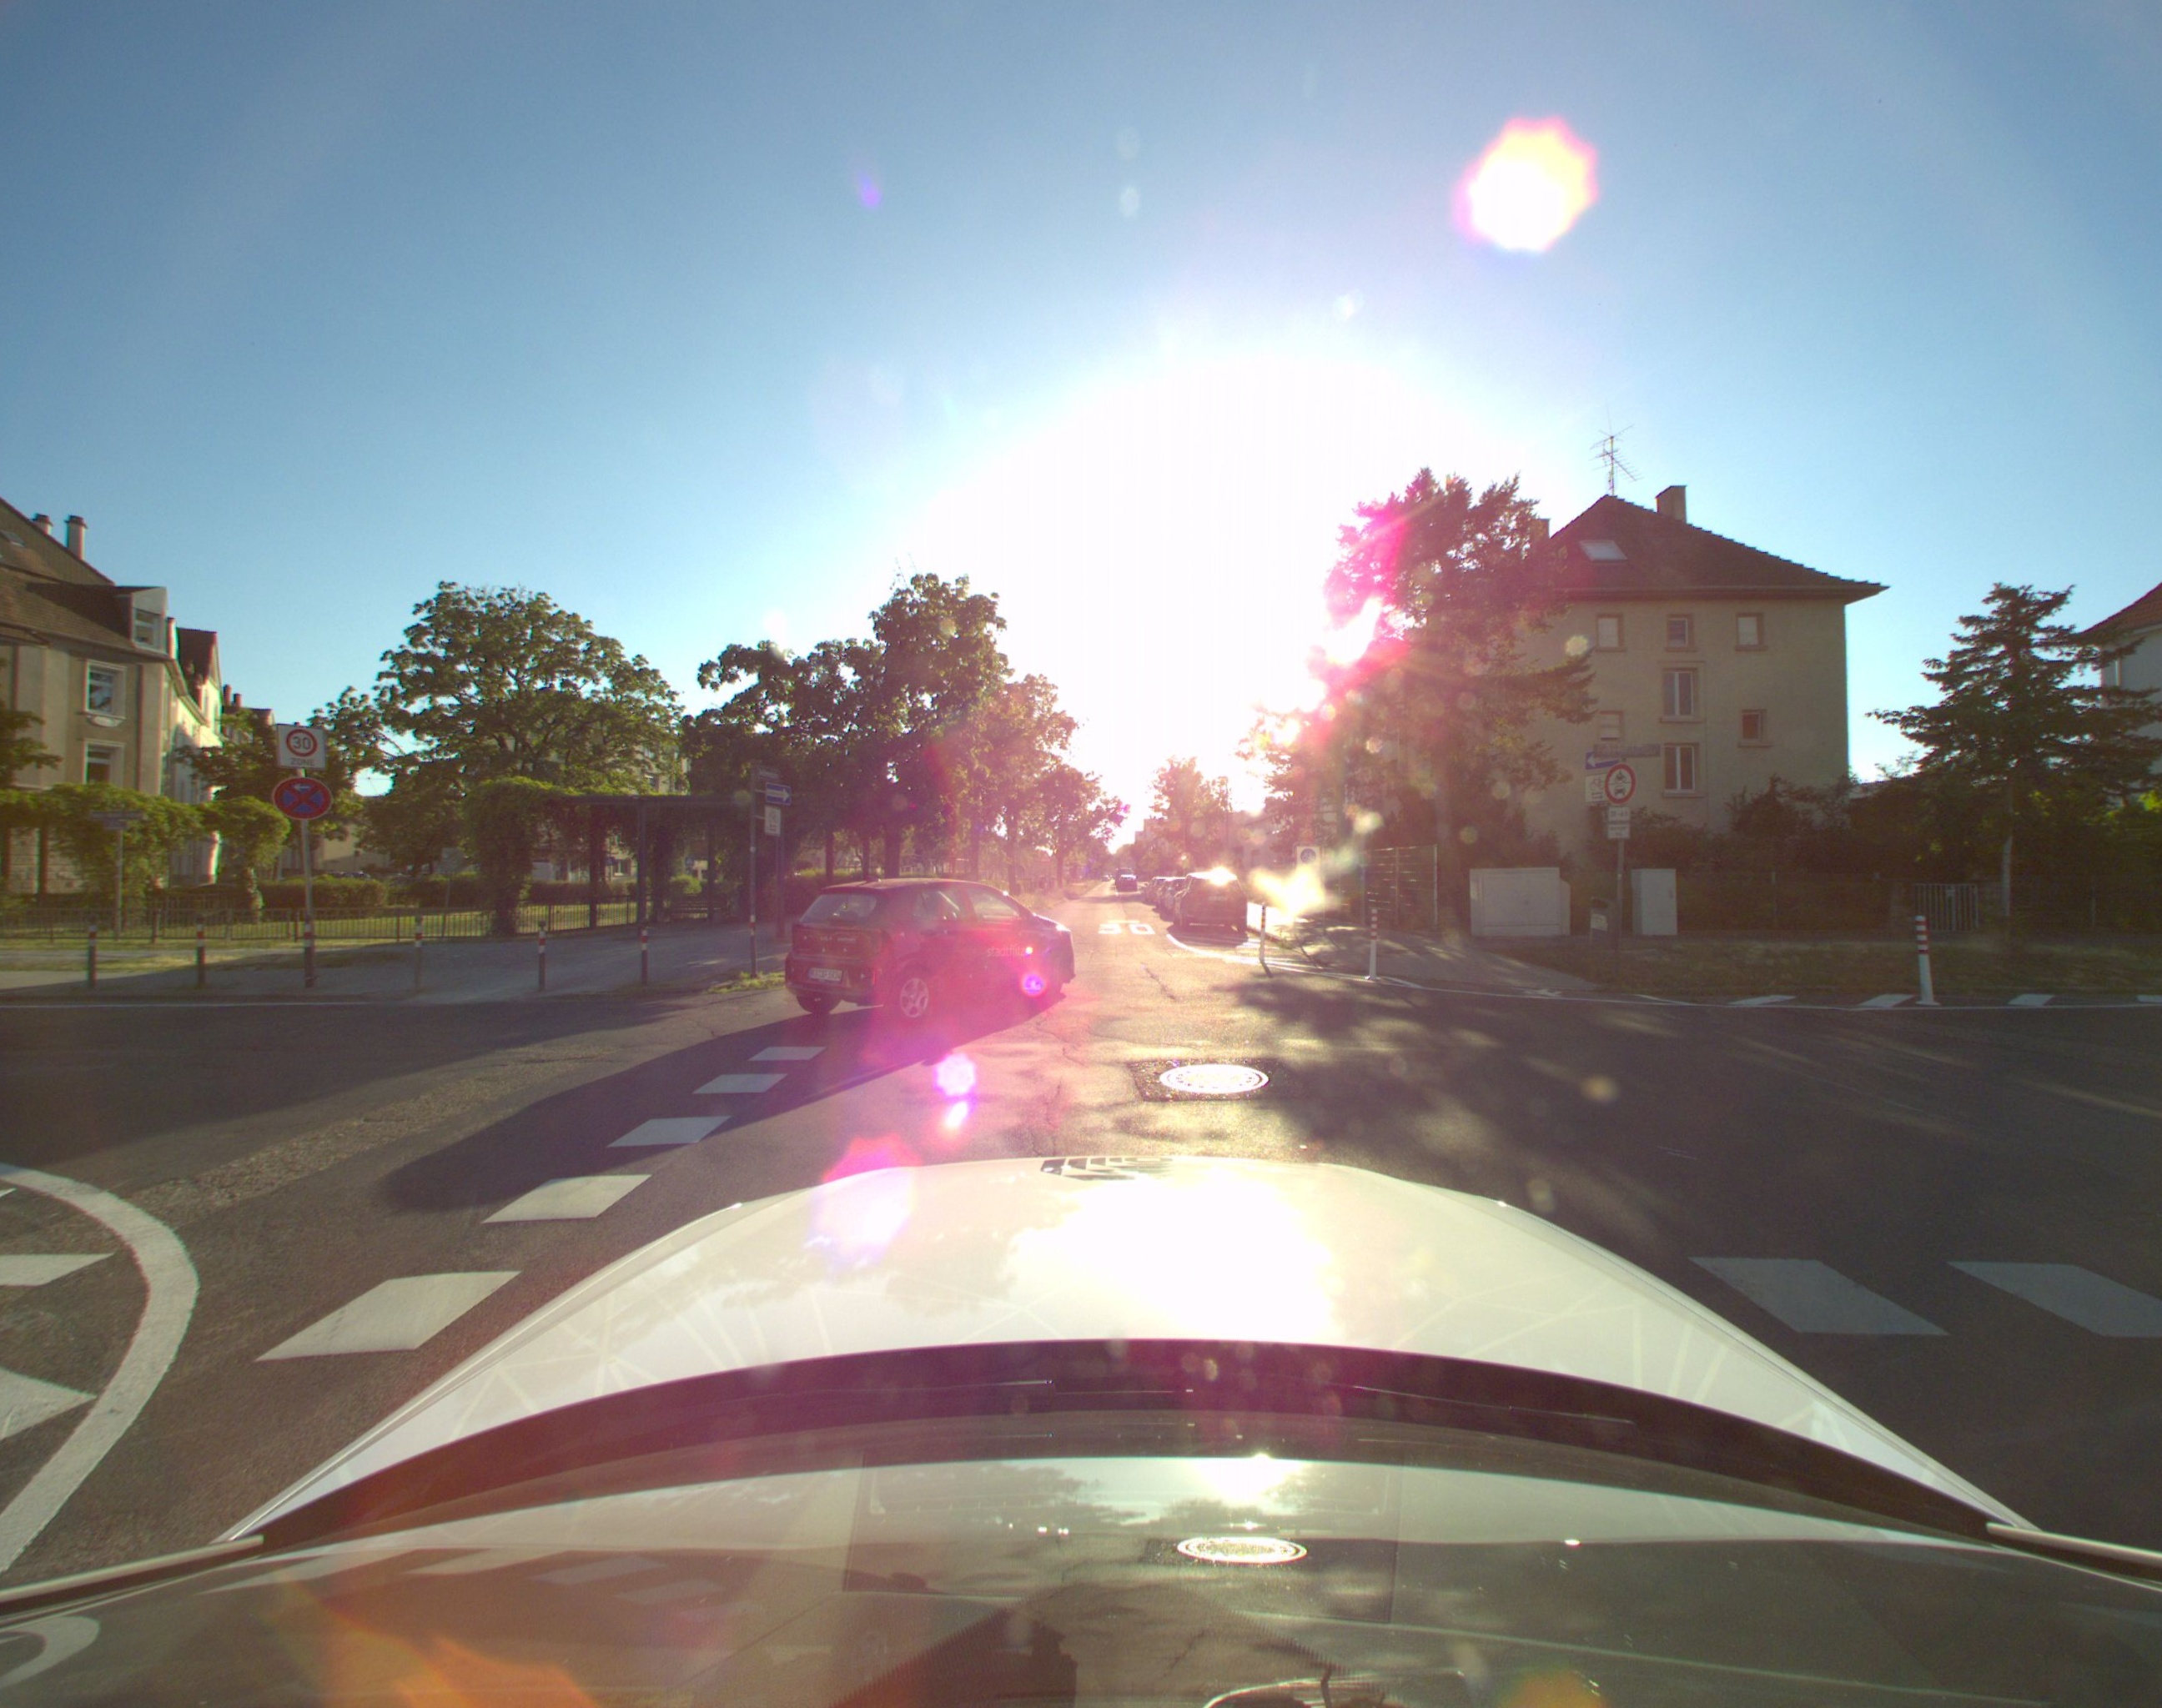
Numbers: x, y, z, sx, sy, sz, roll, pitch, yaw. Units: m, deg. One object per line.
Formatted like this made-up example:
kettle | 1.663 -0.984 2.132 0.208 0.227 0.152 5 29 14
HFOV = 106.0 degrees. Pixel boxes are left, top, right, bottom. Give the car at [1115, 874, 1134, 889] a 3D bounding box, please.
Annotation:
car | 4.560 2.865 85.943 1.724 1.518 3.758 0 -1 -1

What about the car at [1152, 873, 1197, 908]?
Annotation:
car | 4.247 1.656 37.556 1.723 1.518 3.760 0 -1 1

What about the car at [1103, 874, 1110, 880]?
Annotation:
car | 7.129 6.374 229.285 1.859 1.618 4.000 0 -1 1

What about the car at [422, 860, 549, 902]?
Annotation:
car | -40.654 1.841 55.906 6.705 2.745 2.297 0 -2 -28

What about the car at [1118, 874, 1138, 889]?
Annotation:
car | 4.714 2.749 81.643 1.751 1.518 3.758 0 -1 -1

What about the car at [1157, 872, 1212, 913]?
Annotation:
car | 4.076 1.513 32.665 1.759 1.526 3.773 -1 -2 1

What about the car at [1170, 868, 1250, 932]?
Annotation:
car | 3.678 1.280 23.825 1.810 1.642 4.218 2 -2 2

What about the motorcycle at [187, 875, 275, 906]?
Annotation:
motorcycle | -43.884 1.880 42.072 3.221 1.487 0.850 -1 -2 -11

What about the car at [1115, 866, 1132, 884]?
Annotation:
car | 5.187 2.606 99.250 1.986 2.124 4.002 0 -1 2

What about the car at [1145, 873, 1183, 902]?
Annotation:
car | 4.720 1.883 46.729 1.760 1.526 3.771 -1 -2 -1

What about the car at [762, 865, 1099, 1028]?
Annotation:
car | -1.603 0.929 9.786 1.748 1.526 3.797 -3 -2 36
